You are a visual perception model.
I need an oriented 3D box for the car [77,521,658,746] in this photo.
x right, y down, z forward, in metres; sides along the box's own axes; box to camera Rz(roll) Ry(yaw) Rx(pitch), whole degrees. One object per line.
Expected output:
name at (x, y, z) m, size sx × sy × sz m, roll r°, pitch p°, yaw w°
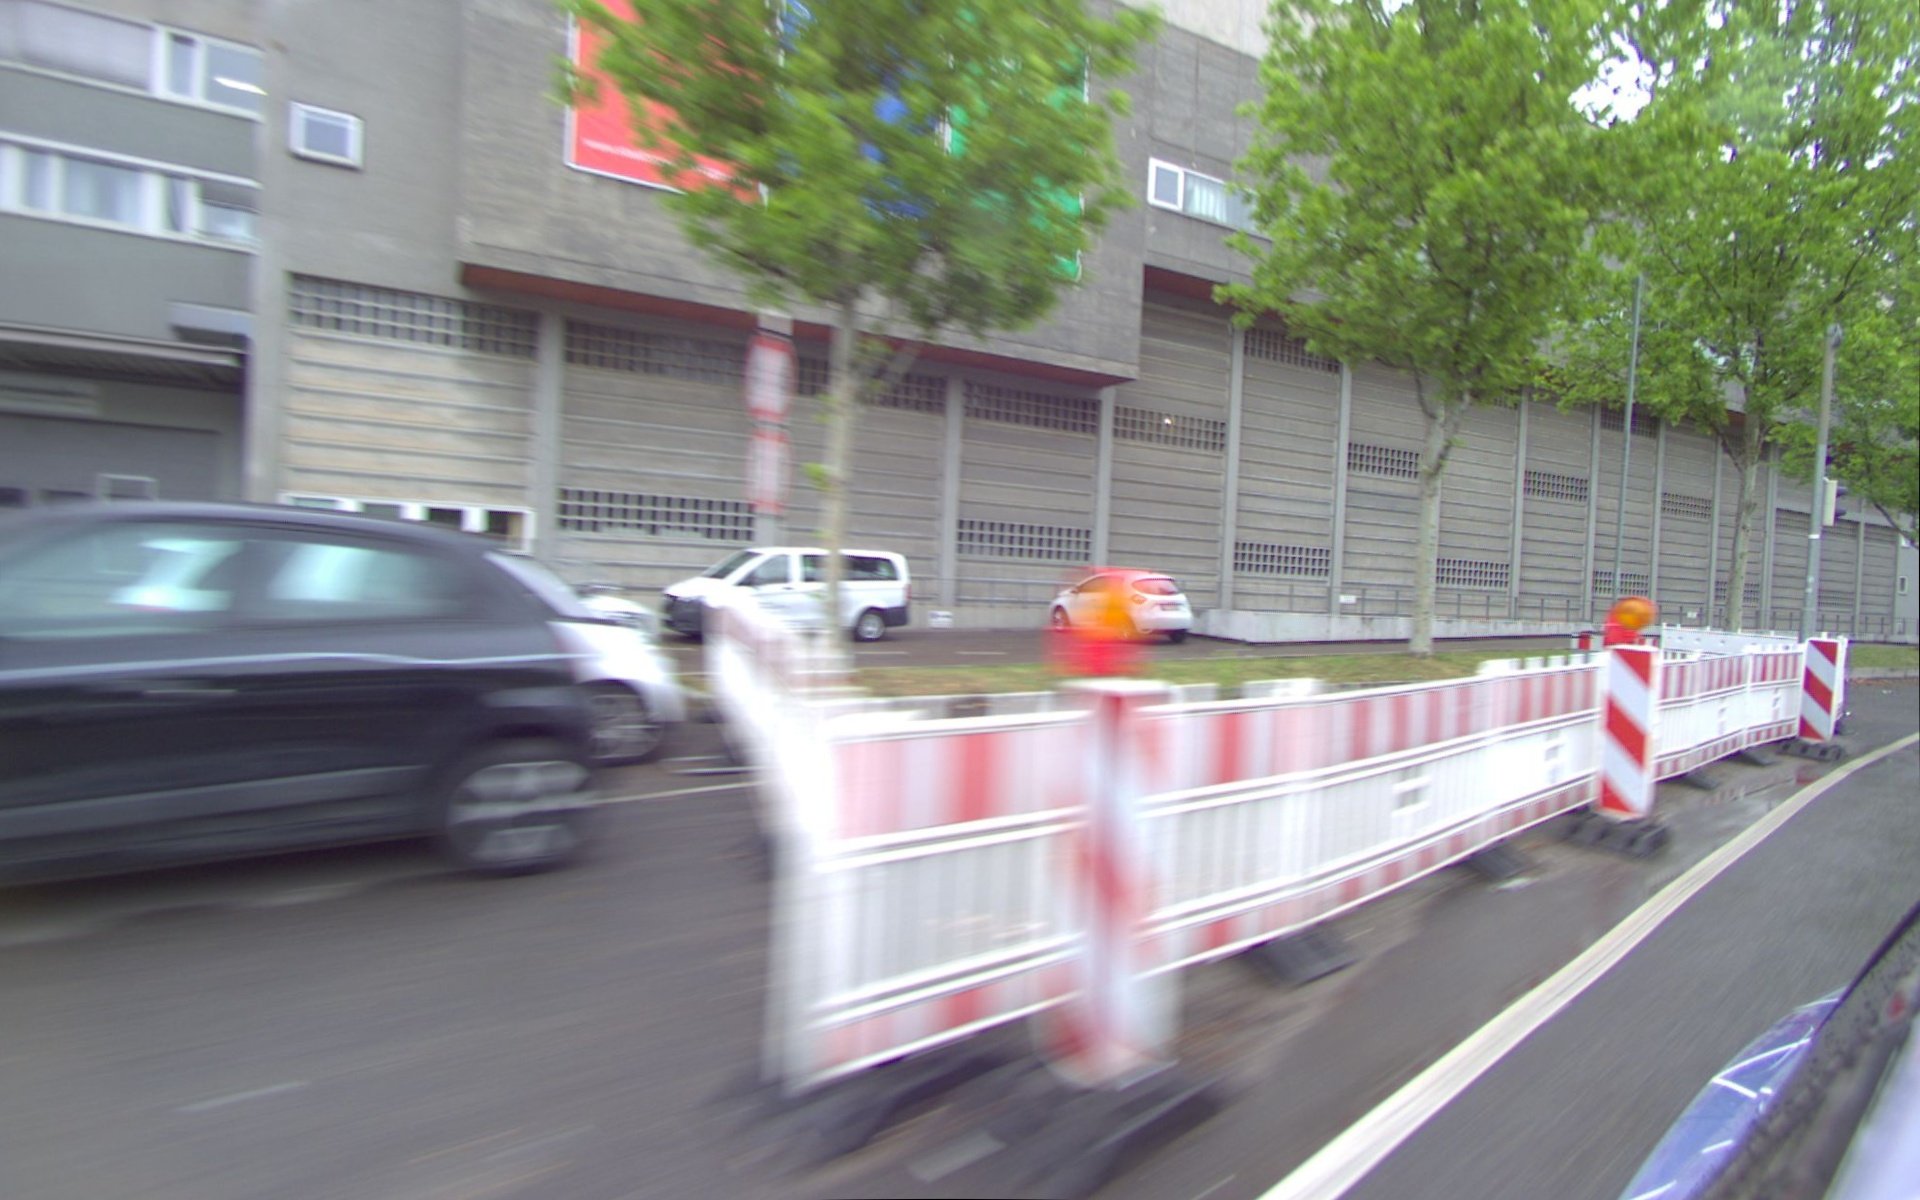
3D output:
car at (-5.396, 0.182, 9.882) m, size 4.400 × 1.704 × 1.965 m, roll -3°, pitch 2°, yaw -24°

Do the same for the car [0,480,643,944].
car at (-3.359, 0.338, 4.168) m, size 3.554 × 1.513 × 1.692 m, roll 0°, pitch 2°, yaw -37°

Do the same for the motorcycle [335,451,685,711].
motorcycle at (-3.699, -0.135, 8.457) m, size 2.539 × 1.927 × 0.752 m, roll 1°, pitch 2°, yaw -31°

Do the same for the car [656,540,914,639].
car at (-3.485, -0.195, 20.523) m, size 4.788 × 1.809 × 1.781 m, roll 1°, pitch 2°, yaw -33°

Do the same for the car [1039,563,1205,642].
car at (3.702, 0.019, 23.719) m, size 1.743 × 1.599 × 3.856 m, roll 1°, pitch 2°, yaw -30°

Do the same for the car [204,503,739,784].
car at (-3.219, 0.223, 6.980) m, size 2.959 × 1.556 × 1.589 m, roll 1°, pitch 2°, yaw -28°
